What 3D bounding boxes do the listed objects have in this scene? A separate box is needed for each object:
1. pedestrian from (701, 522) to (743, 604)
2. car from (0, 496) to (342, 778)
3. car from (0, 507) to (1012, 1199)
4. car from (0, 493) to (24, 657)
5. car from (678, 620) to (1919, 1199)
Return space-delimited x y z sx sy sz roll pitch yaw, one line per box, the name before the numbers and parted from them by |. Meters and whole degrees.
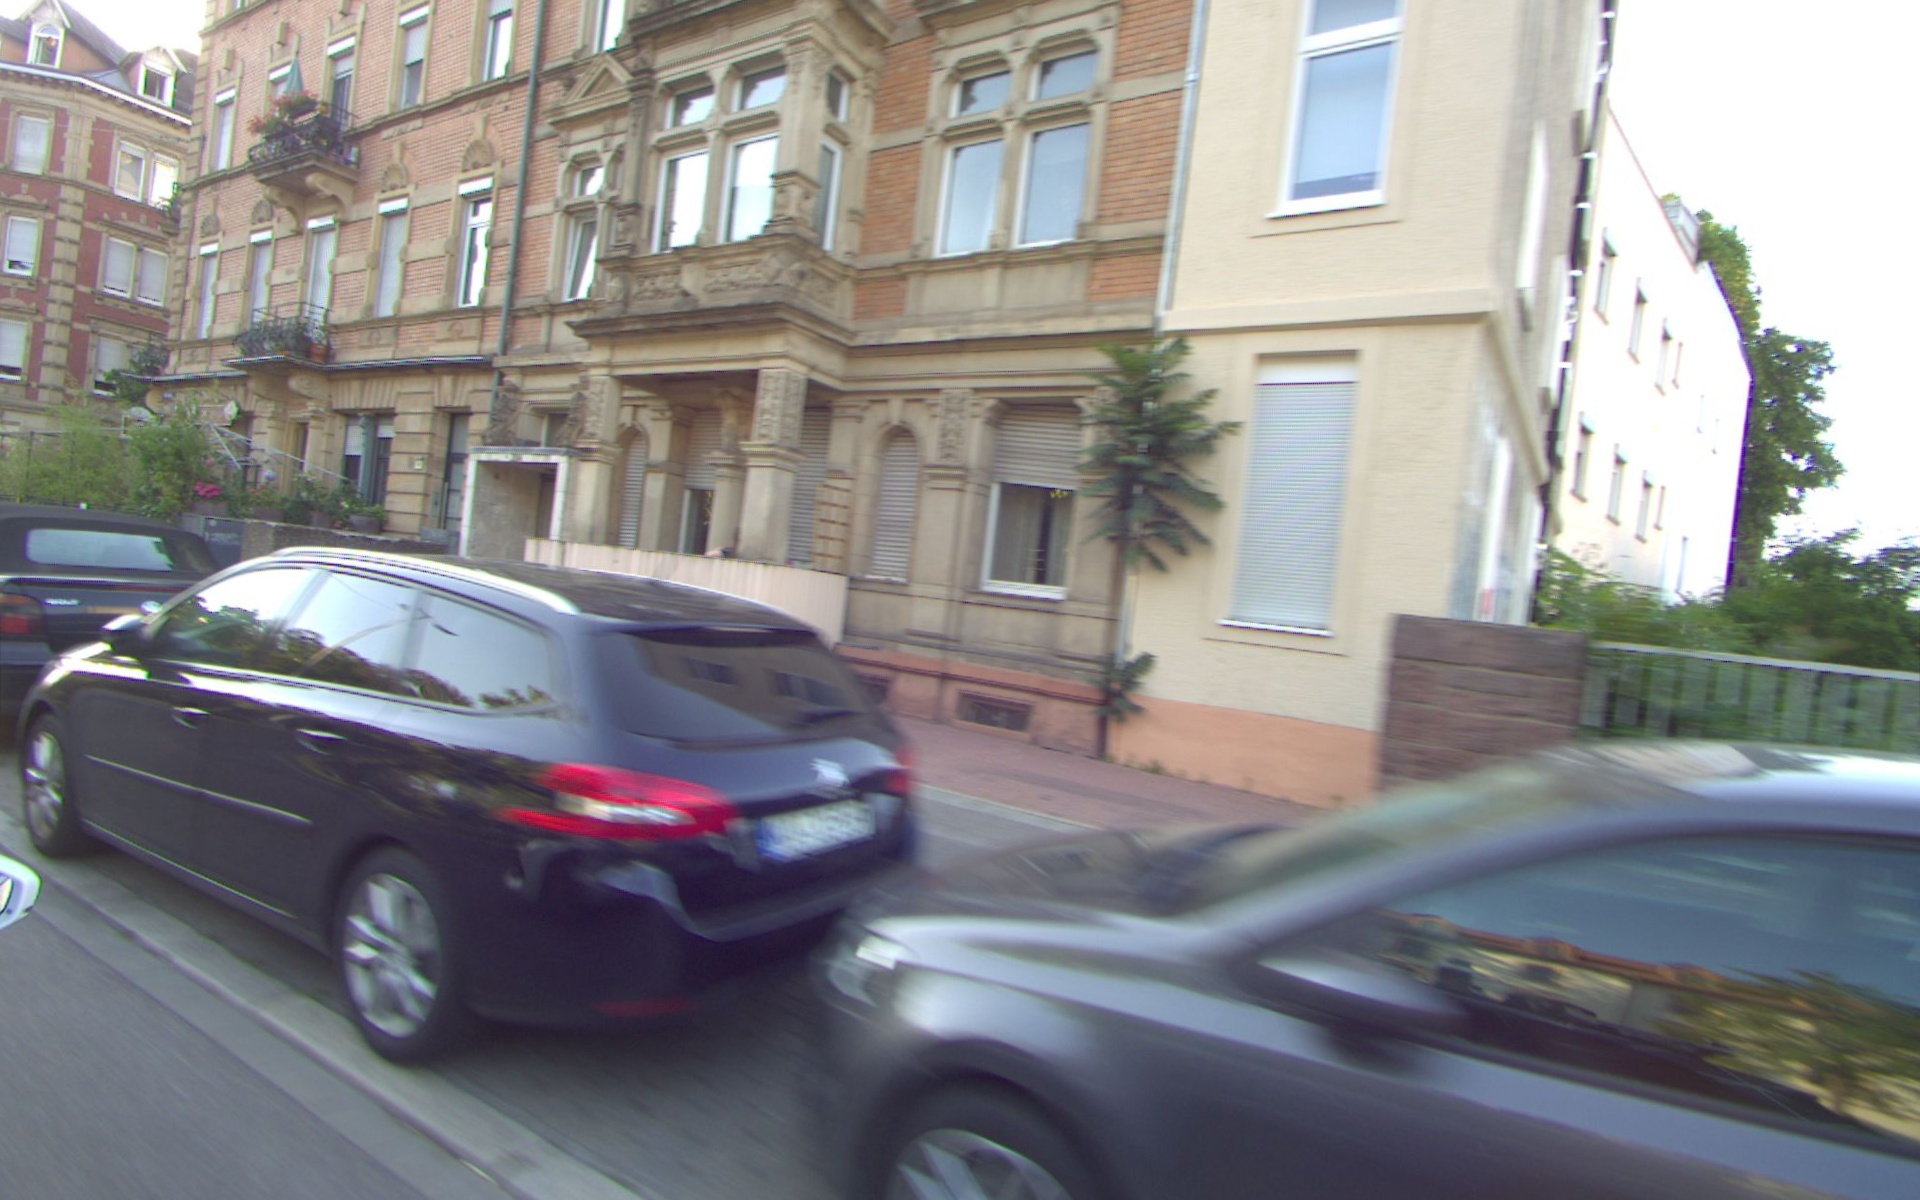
pedestrian | -2.737 -0.421 11.554 0.306 0.880 0.318 8 -1 -25
car | -6.487 0.045 7.116 4.271 1.446 1.887 7 3 32
car | -2.204 0.528 4.288 4.389 1.467 1.887 7 3 31
car | -10.389 -0.400 9.235 3.615 1.446 1.677 7 3 31
car | 1.440 0.965 2.085 3.776 1.446 1.747 7 3 32
